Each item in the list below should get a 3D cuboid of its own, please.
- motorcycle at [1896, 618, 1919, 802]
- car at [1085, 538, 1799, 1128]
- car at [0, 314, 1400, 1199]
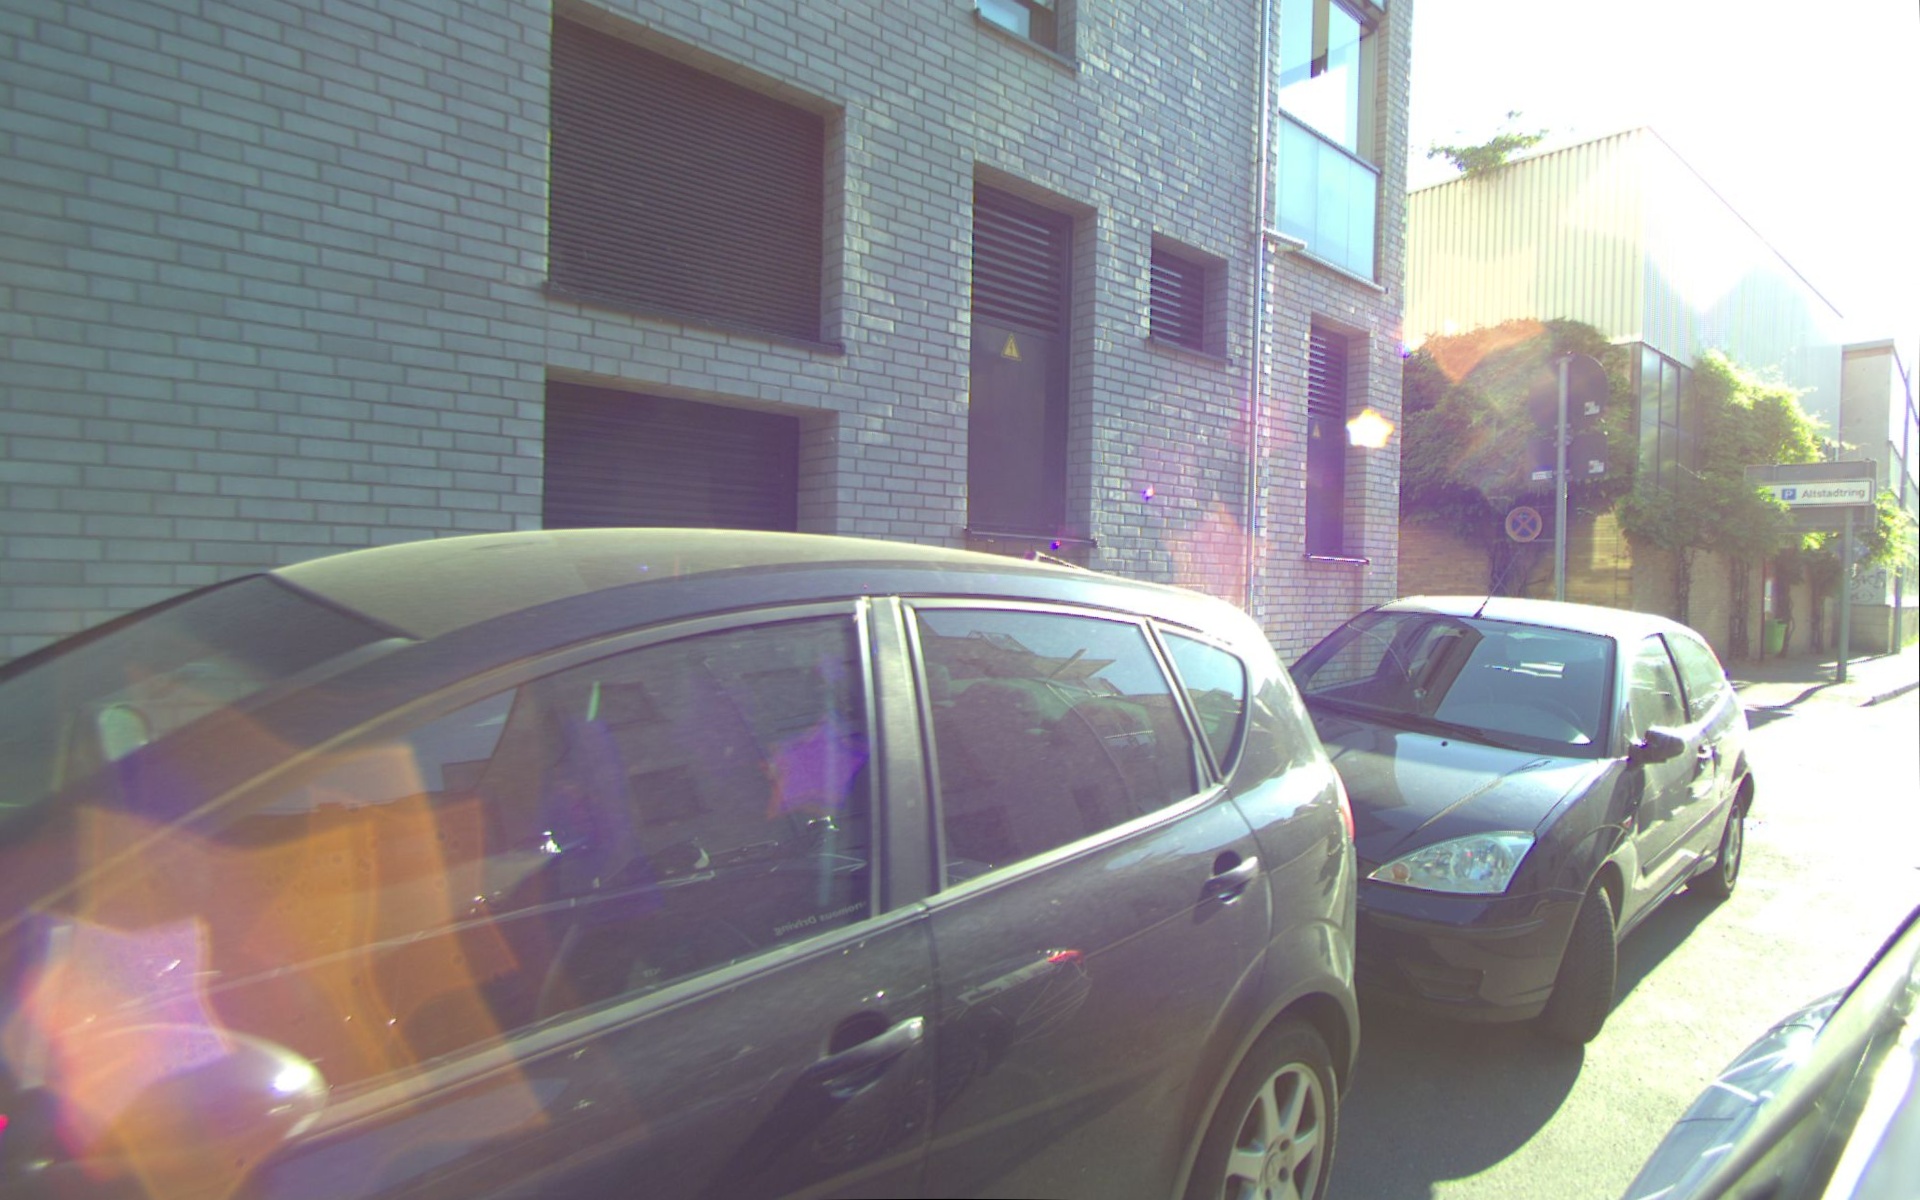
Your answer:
[{"bbox_3d":[6.997,0.816,6.223,0.884,1.297,2.329,1,1,18],"label":"motorcycle"},{"bbox_3d":[2.543,0.611,4.799,4.001,1.606,1.632,0,5,-43],"label":"car"},{"bbox_3d":[-0.970,0.627,1.662,3.847,1.723,1.667,0,1,-42],"label":"car"}]
